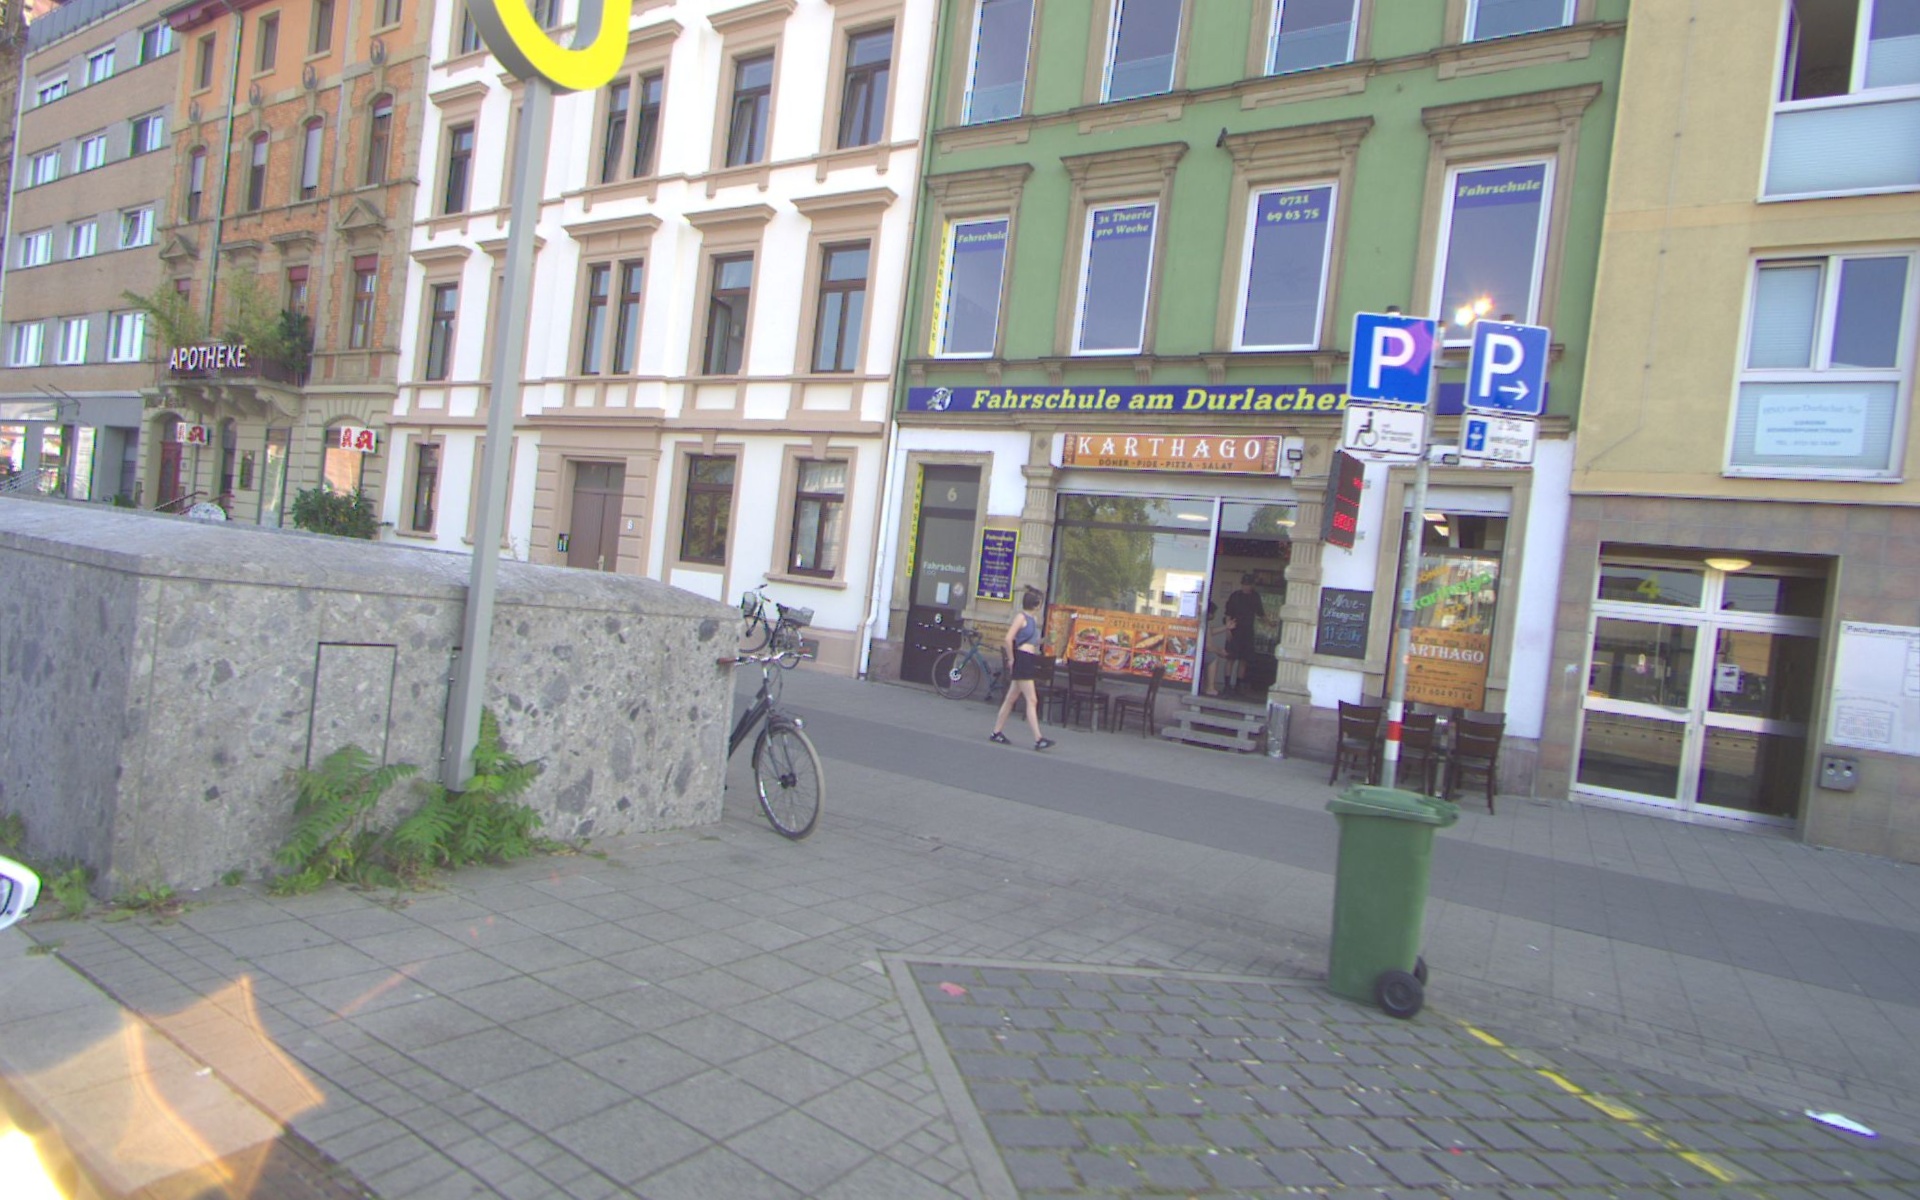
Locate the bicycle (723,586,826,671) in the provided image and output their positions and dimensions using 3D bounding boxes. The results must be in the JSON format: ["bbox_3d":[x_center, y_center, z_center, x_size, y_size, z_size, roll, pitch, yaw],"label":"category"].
[{"bbox_3d":[-2.962,0.445,15.967,1.691,1.148,0.384,7,1,32],"label":"bicycle"}]

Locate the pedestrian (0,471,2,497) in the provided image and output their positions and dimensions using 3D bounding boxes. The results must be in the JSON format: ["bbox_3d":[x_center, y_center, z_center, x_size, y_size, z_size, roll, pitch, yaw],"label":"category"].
[{"bbox_3d":[-32.297,-3.399,33.260,0.729,1.855,0.604,7,1,28],"label":"pedestrian"}]

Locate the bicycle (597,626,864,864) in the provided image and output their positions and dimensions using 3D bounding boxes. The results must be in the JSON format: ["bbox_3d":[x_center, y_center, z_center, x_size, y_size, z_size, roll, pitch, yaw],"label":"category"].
[{"bbox_3d":[-1.473,0.841,6.281,1.760,1.148,0.384,7,1,32],"label":"bicycle"}]

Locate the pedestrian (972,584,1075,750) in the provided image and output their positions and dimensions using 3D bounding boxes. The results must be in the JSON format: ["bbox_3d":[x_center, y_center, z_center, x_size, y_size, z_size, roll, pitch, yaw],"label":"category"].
[{"bbox_3d":[0.680,0.709,10.784,0.725,1.650,0.609,7,1,32],"label":"pedestrian"}]

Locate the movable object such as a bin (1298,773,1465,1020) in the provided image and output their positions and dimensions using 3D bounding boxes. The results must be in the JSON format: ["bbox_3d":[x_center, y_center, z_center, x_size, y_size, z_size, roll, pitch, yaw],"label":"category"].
[{"bbox_3d":[1.933,1.317,4.605,0.528,0.914,0.490,7,1,34],"label":"movable object such as a bin"}]

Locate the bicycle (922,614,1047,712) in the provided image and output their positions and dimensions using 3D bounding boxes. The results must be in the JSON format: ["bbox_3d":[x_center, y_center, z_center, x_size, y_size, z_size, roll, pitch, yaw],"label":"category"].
[{"bbox_3d":[0.323,0.872,14.153,1.691,1.148,0.384,7,1,32],"label":"bicycle"}]

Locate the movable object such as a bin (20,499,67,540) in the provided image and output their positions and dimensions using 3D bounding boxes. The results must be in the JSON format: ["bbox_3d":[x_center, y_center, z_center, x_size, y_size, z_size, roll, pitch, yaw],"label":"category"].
[{"bbox_3d":[-27.534,-2.421,30.224,0.657,1.094,0.739,7,1,14],"label":"movable object such as a bin"}]
